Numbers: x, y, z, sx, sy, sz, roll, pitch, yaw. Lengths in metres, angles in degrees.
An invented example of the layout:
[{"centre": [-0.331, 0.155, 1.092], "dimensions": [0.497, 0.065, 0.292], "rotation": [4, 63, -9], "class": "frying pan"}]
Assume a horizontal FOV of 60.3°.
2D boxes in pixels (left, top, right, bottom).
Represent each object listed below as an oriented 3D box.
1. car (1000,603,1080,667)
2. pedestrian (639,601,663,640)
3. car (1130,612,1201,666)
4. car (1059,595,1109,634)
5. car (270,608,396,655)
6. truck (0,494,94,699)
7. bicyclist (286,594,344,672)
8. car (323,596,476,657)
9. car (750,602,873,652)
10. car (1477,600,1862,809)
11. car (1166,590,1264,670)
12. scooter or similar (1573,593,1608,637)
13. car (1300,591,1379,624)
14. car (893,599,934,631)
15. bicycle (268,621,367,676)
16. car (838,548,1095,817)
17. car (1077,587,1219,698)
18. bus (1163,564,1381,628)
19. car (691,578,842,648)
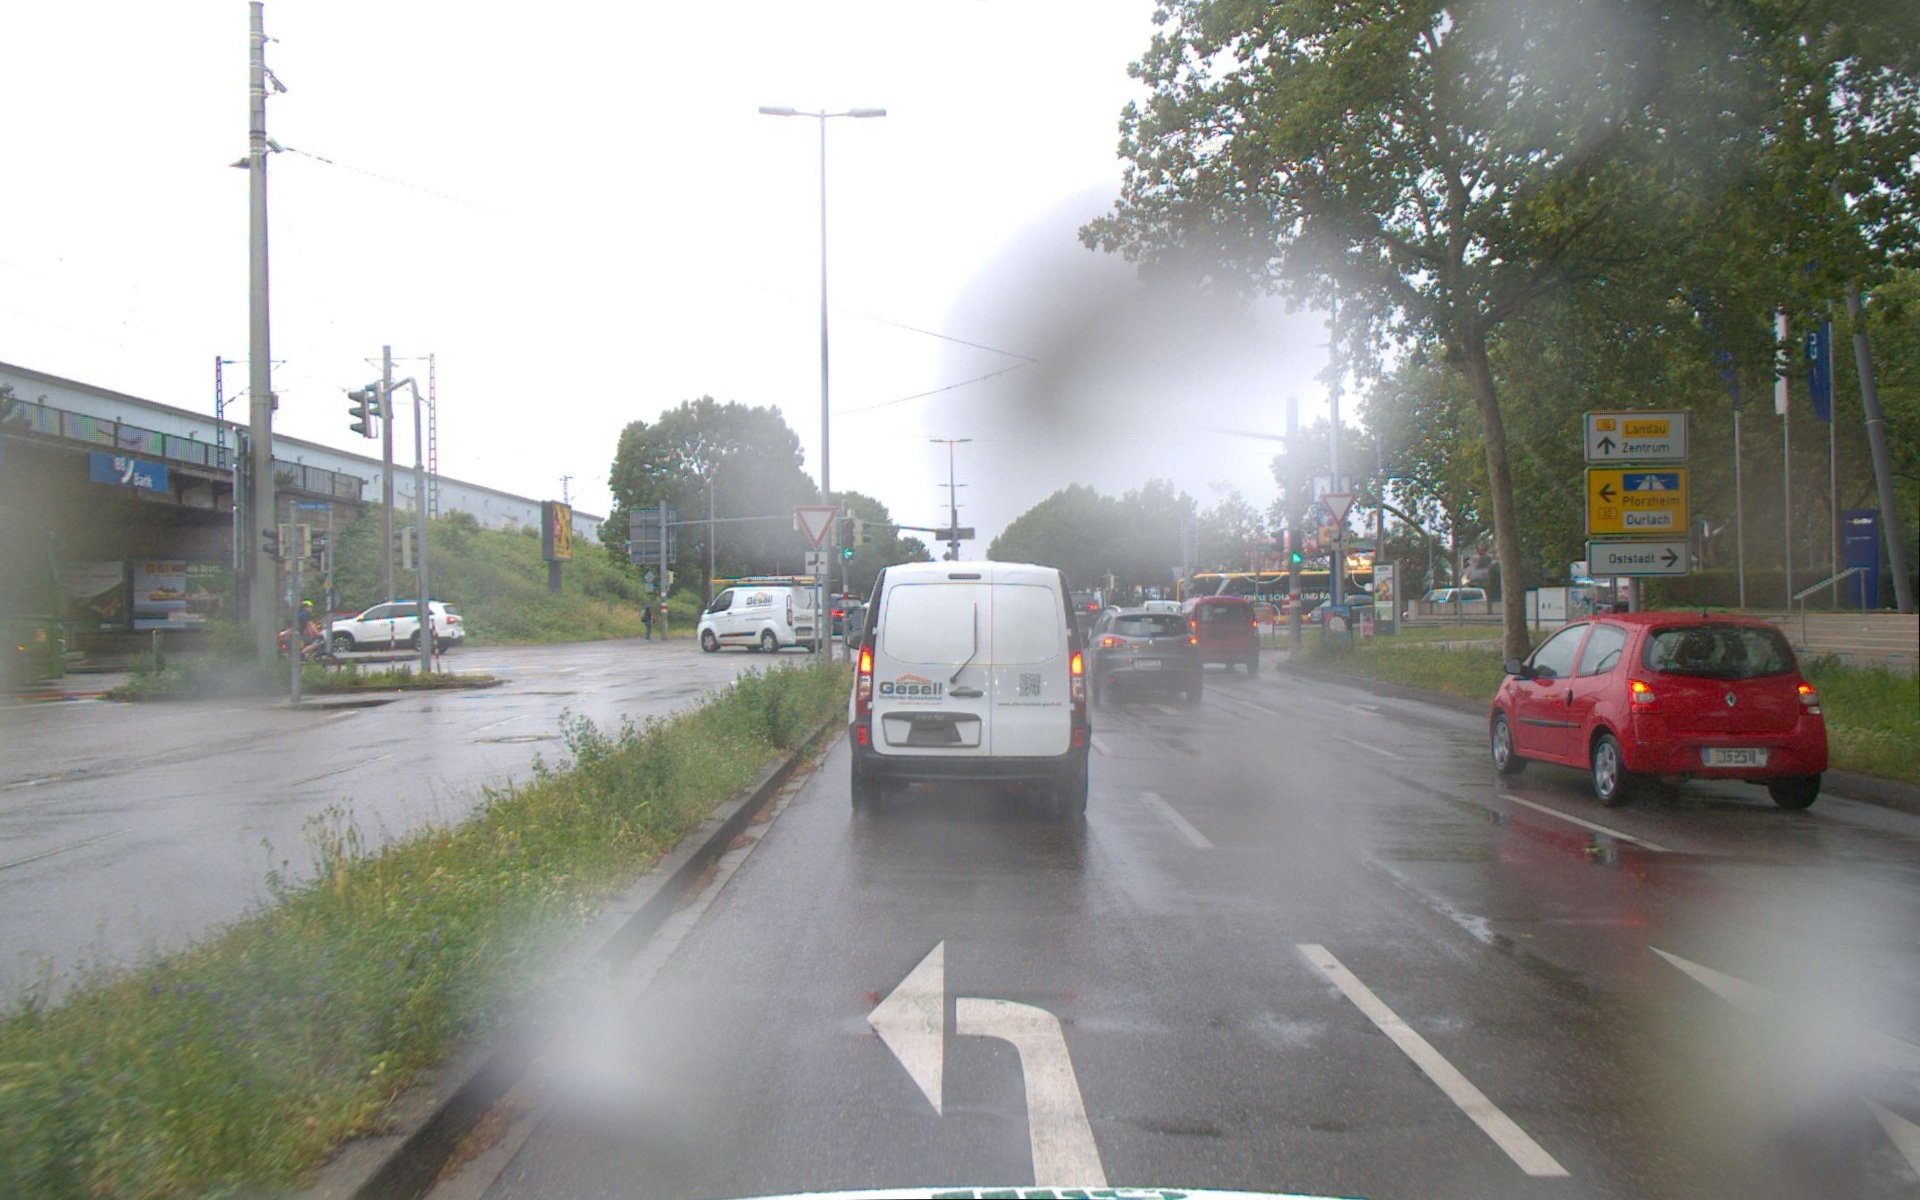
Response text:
[{"centre": [2.177, 0.934, 46.062], "dimensions": [1.799, 1.684, 3.997], "rotation": [1, 0, -3], "class": "car"}, {"centre": [-14.124, 0.931, 75.610], "dimensions": [0.983, 1.749, 0.818], "rotation": [-1, 0, -9], "class": "pedestrian"}, {"centre": [6.473, 1.203, 52.513], "dimensions": [1.805, 1.646, 4.000], "rotation": [1, 0, 1], "class": "car"}, {"centre": [5.299, 0.590, 71.294], "dimensions": [1.952, 1.601, 4.001], "rotation": [-1, 0, 2], "class": "car"}, {"centre": [-21.901, 1.073, 57.768], "dimensions": [3.941, 1.529, 1.756], "rotation": [-1, 0, -28], "class": "car"}, {"centre": [-22.228, 0.006, 31.267], "dimensions": [10.087, 4.018, 2.652], "rotation": [-1, 0, -37], "class": "truck"}, {"centre": [-13.631, 0.689, 34.941], "dimensions": [1.032, 1.621, 0.797], "rotation": [1, -1, -28], "class": "bicyclist"}, {"centre": [-18.403, 0.868, 54.433], "dimensions": [4.337, 1.878, 2.000], "rotation": [-1, 0, -1], "class": "car"}, {"centre": [-5.189, 0.963, 57.796], "dimensions": [3.861, 1.647, 1.995], "rotation": [-1, 0, 33], "class": "car"}, {"centre": [5.739, 0.763, 13.859], "dimensions": [1.644, 1.517, 3.621], "rotation": [0, 0, -1], "class": "car"}, {"centre": [5.635, 0.638, 36.908], "dimensions": [1.599, 1.684, 3.484], "rotation": [1, 0, -1], "class": "car"}, {"centre": [17.149, 0.411, 44.972], "dimensions": [1.164, 1.158, 0.336], "rotation": [-2, 0, -41], "class": "scooter or similar"}, {"centre": [20.607, 0.415, 89.709], "dimensions": [4.297, 1.680, 1.908], "rotation": [-1, 0, -38], "class": "car"}, {"centre": [-2.652, 0.870, 95.643], "dimensions": [2.124, 1.750, 4.303], "rotation": [-1, 0, 1], "class": "car"}, {"centre": [-13.581, 1.014, 34.975], "dimensions": [1.884, 1.114, 0.688], "rotation": [0, 0, -28], "class": "bicycle"}, {"centre": [0.026, 0.558, 13.159], "dimensions": [1.720, 1.808, 3.999], "rotation": [0, 0, -1], "class": "car"}, {"centre": [2.950, 0.648, 26.707], "dimensions": [1.805, 1.646, 3.999], "rotation": [1, 0, -1], "class": "car"}, {"centre": [17.989, -0.224, 95.884], "dimensions": [12.000, 3.325, 3.274], "rotation": [-1, 0, -1], "class": "bus"}, {"centre": [-5.881, 0.396, 49.961], "dimensions": [4.739, 1.990, 1.986], "rotation": [-1, 1, 44], "class": "car"}]
